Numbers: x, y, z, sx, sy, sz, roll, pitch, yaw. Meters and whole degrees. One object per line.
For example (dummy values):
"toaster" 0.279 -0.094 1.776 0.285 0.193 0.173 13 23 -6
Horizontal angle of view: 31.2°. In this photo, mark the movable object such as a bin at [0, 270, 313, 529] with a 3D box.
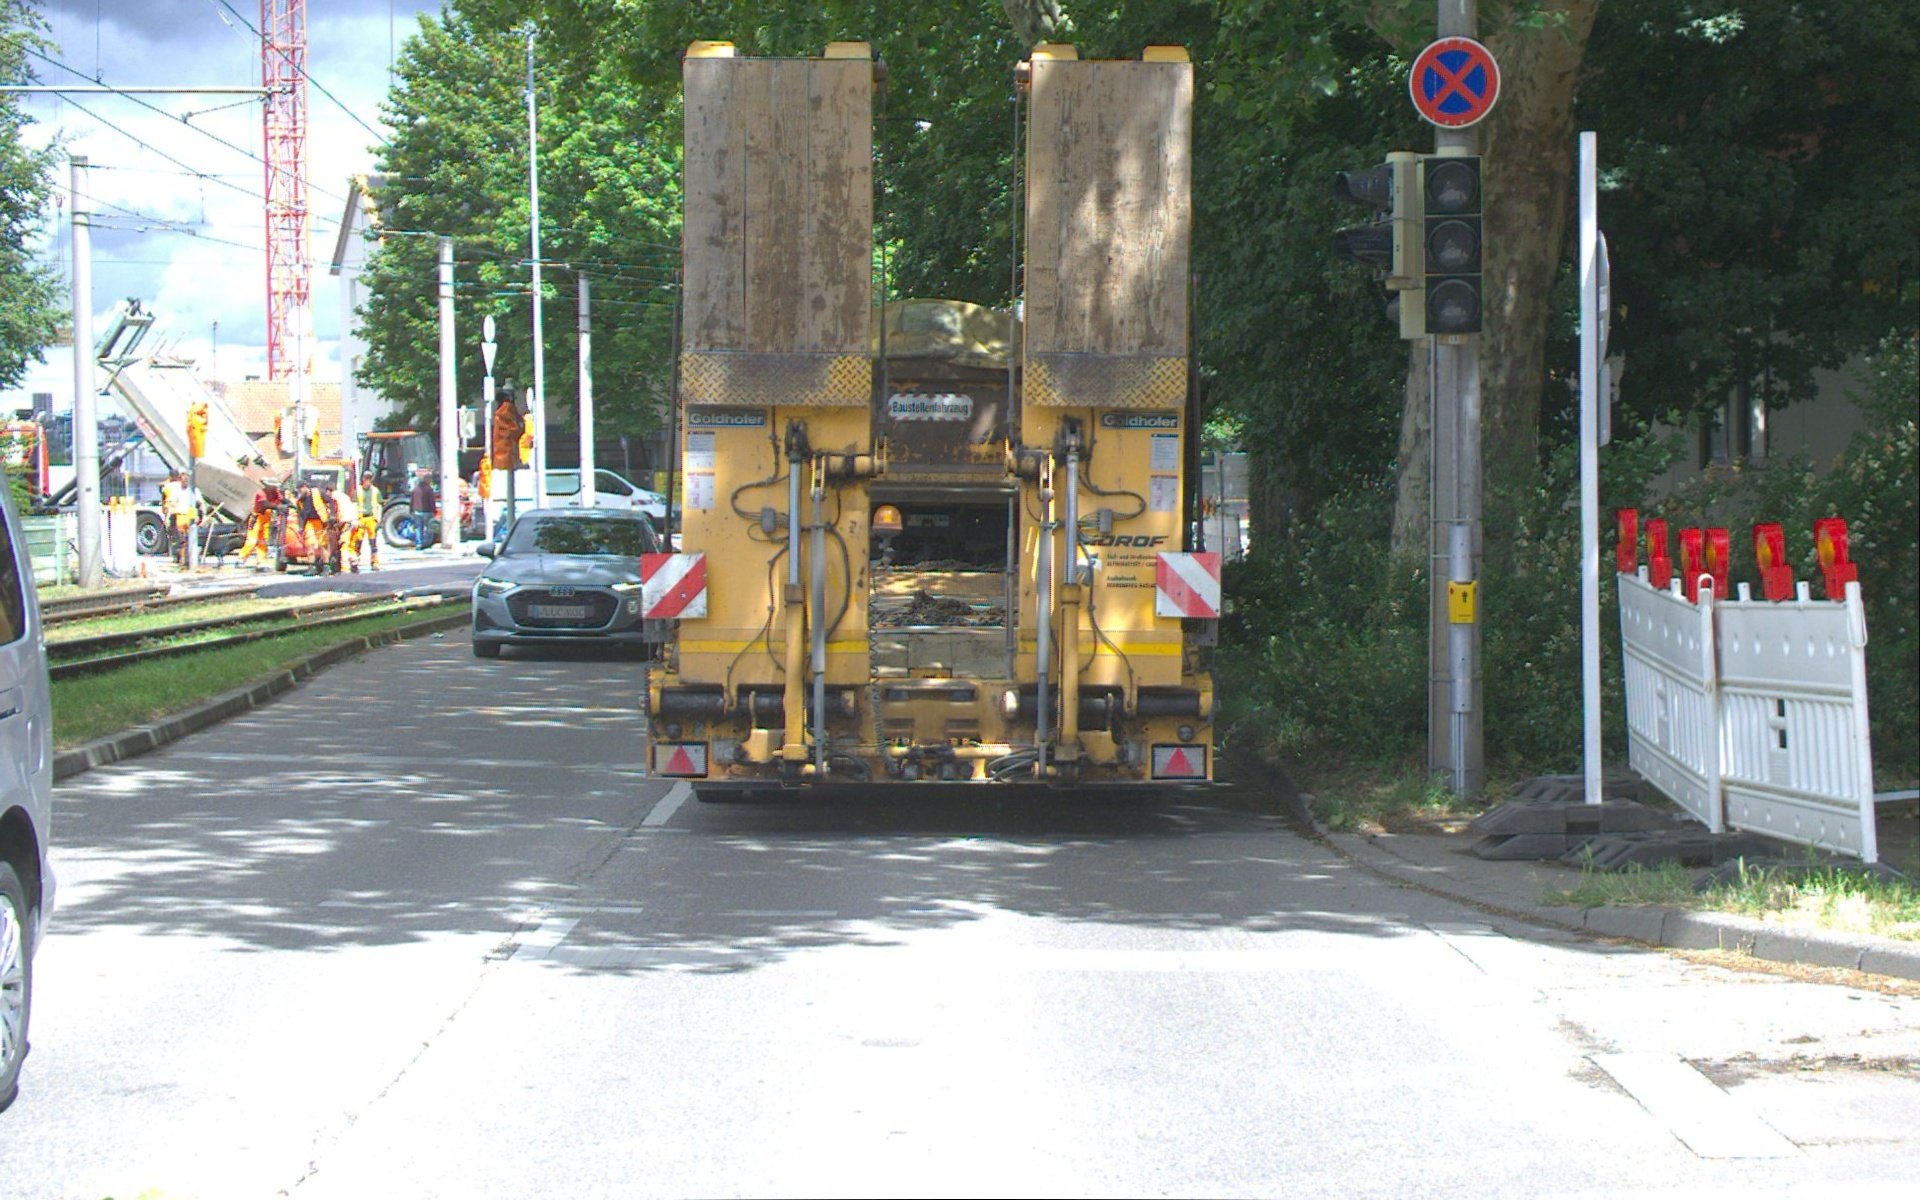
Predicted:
"movable object such as a bin" -18.650 -4.277 74.838 9.215 5.396 2.660 1 2 26

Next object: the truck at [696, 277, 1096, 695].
"truck" -0.588 -0.975 29.739 2.989 3.124 7.889 0 2 -2

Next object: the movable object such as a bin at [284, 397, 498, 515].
"movable object such as a bin" -13.028 -3.277 78.735 4.373 2.620 2.217 1 2 26

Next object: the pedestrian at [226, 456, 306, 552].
"pedestrian" -12.484 -1.739 61.851 1.108 1.709 0.888 -2 3 -44

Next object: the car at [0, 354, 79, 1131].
"car" -3.088 0.382 6.582 1.753 1.834 4.647 0 2 -2

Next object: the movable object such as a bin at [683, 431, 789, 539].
"movable object such as a bin" -4.238 -2.179 65.309 1.399 2.006 2.555 1 2 11

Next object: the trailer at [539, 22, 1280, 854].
"trailer" -0.352 -0.854 20.233 3.154 3.540 11.098 0 2 -1

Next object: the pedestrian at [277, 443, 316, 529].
"pedestrian" -14.594 -2.503 75.577 0.834 1.860 0.888 0 2 -12

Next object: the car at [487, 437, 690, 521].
"car" -9.893 -3.221 91.498 5.088 2.094 1.977 -2 2 -14

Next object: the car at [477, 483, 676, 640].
"car" -3.673 -0.418 33.424 1.636 1.430 3.852 0 2 -2

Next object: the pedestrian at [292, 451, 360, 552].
"pedestrian" -11.126 -1.727 60.360 0.886 1.754 0.836 1 2 19

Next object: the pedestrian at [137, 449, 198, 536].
"pedestrian" -15.121 -2.050 65.582 0.885 1.639 0.900 -1 2 -31

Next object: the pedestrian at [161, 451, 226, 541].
"pedestrian" -14.160 -1.921 63.509 0.885 1.639 0.837 -1 2 -38

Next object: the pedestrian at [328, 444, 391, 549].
"pedestrian" -10.705 -1.842 61.321 0.885 1.860 0.837 -1 2 -29

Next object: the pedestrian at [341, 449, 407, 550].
"pedestrian" -10.881 -1.867 63.853 0.887 1.860 0.836 1 2 29
